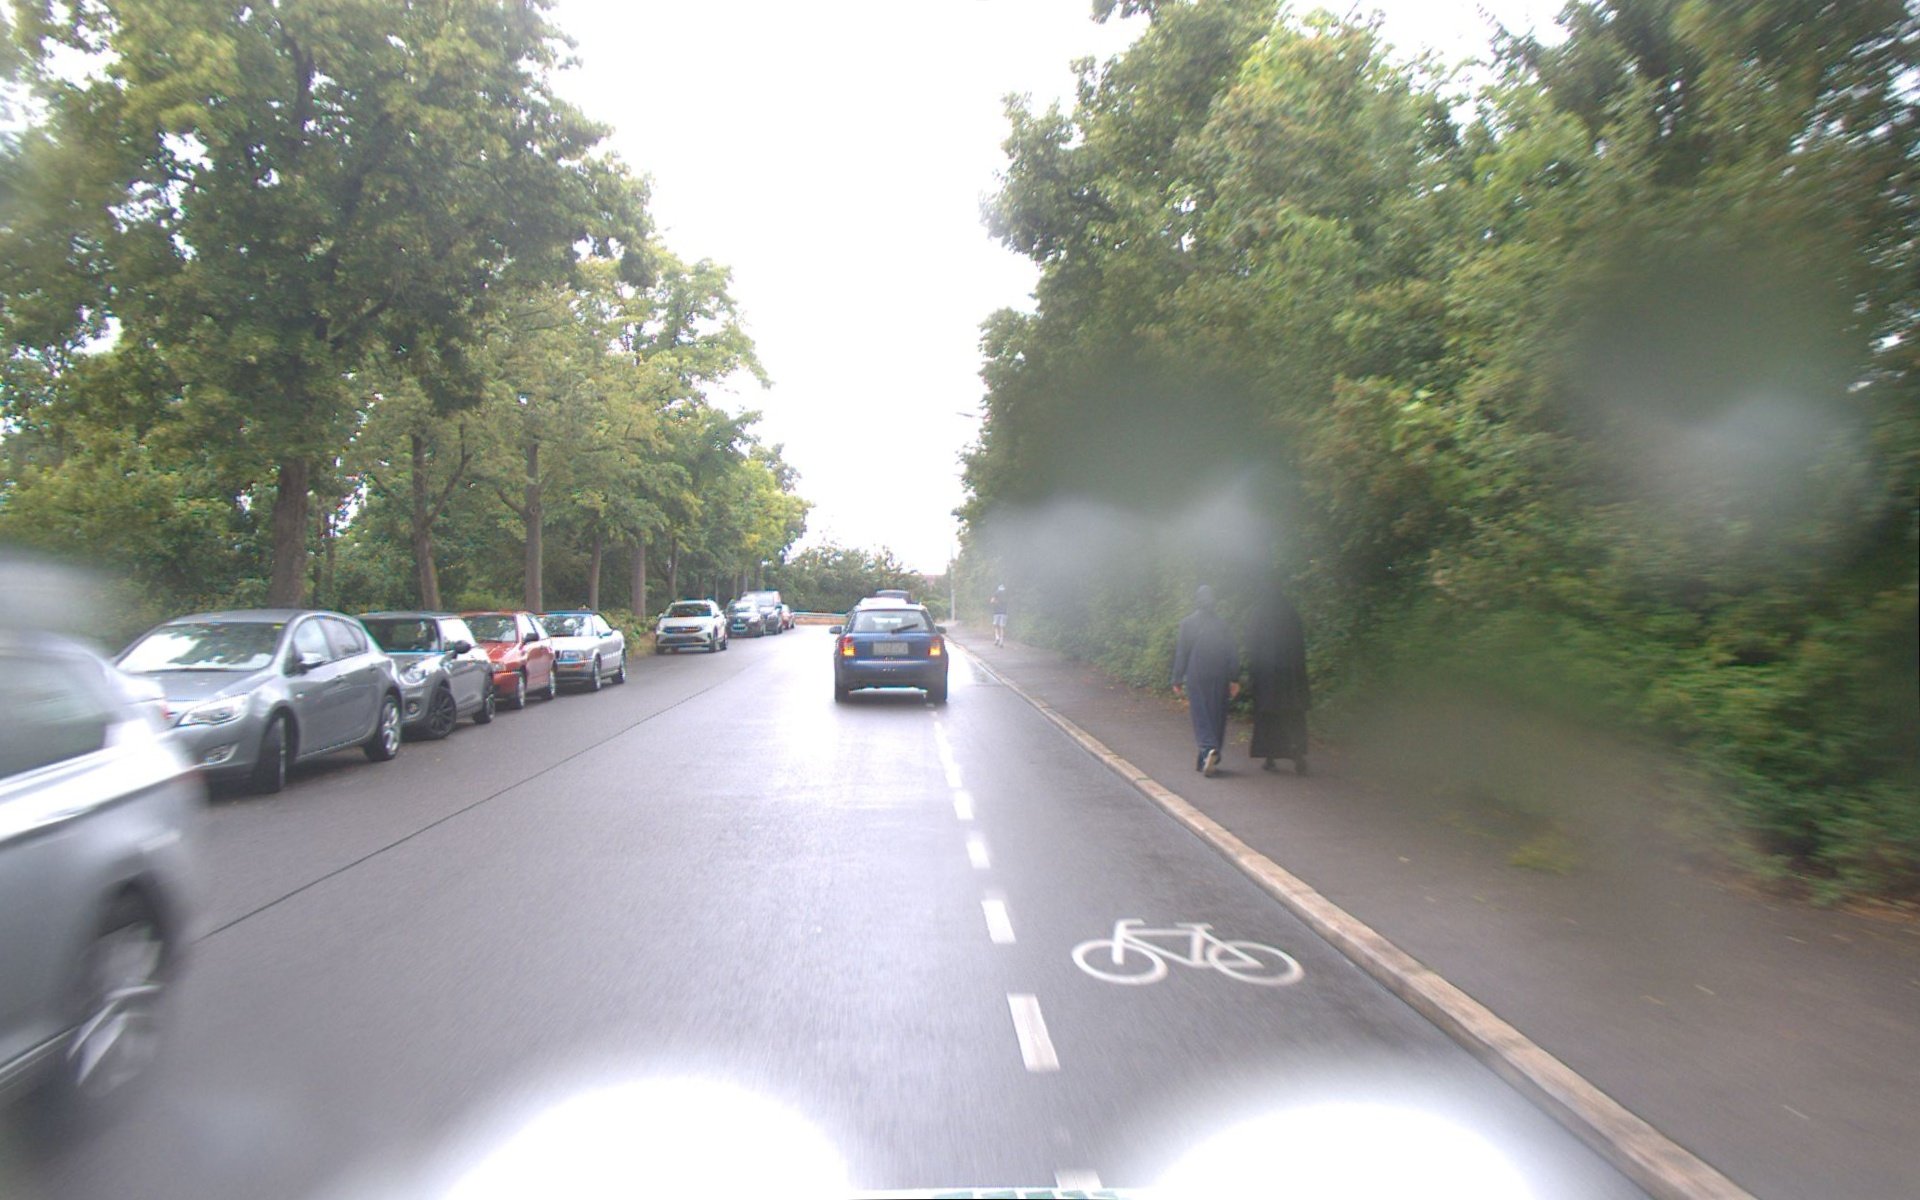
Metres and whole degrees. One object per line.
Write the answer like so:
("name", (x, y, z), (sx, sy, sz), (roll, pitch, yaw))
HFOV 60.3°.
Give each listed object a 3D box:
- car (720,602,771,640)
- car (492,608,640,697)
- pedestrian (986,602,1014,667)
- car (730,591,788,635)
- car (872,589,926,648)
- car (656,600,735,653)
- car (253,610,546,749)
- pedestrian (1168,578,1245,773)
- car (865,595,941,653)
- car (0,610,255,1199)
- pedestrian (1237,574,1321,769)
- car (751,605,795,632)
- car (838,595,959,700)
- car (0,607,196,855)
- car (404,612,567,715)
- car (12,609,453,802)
("car", (-8.862, 0.866, 68.692), (1.762, 1.462, 4.253), (-1, -1, -3))
("car", (-6.942, 0.882, 29.557), (1.719, 1.427, 4.417), (-1, -1, -2))
("pedestrian", (1.177, 1.010, 48.831), (0.702, 1.867, 1.021), (-2, 0, -1))
("car", (-9.035, 0.579, 74.664), (2.041, 1.851, 5.378), (-1, -1, -2))
("car", (-2.332, 0.730, 62.364), (1.754, 1.987, 3.996), (-4, -2, -5))
("car", (-7.785, 0.779, 48.949), (1.654, 1.462, 4.255), (-1, -1, 0))
("car", (-6.683, 0.885, 20.348), (1.953, 1.429, 4.713), (-2, 0, 0))
("pedestrian", (2.065, 0.623, 13.885), (0.540, 1.594, 0.487), (-2, 0, 2))
("car", (-1.453, 0.615, 42.754), (1.852, 1.413, 3.999), (-1, -1, -1))
("car", (-3.167, 0.754, 3.334), (1.846, 1.427, 4.253), (-1, -1, -3))
("pedestrian", (2.682, 0.590, 13.956), (0.583, 1.594, 0.669), (-1, 0, 2))
("car", (-9.676, 0.957, 85.683), (1.753, 1.320, 4.325), (-1, -1, 0))
("car", (-1.009, 0.681, 25.885), (1.712, 1.432, 3.997), (1, 1, -4))
("car", (-6.700, 0.842, 9.854), (1.952, 1.429, 4.715), (-2, 1, 1))
("car", (-7.037, 0.902, 24.887), (1.564, 1.386, 3.997), (-1, -1, -5))
("car", (-6.420, 0.843, 15.307), (1.953, 1.429, 4.713), (-2, 0, 0))
